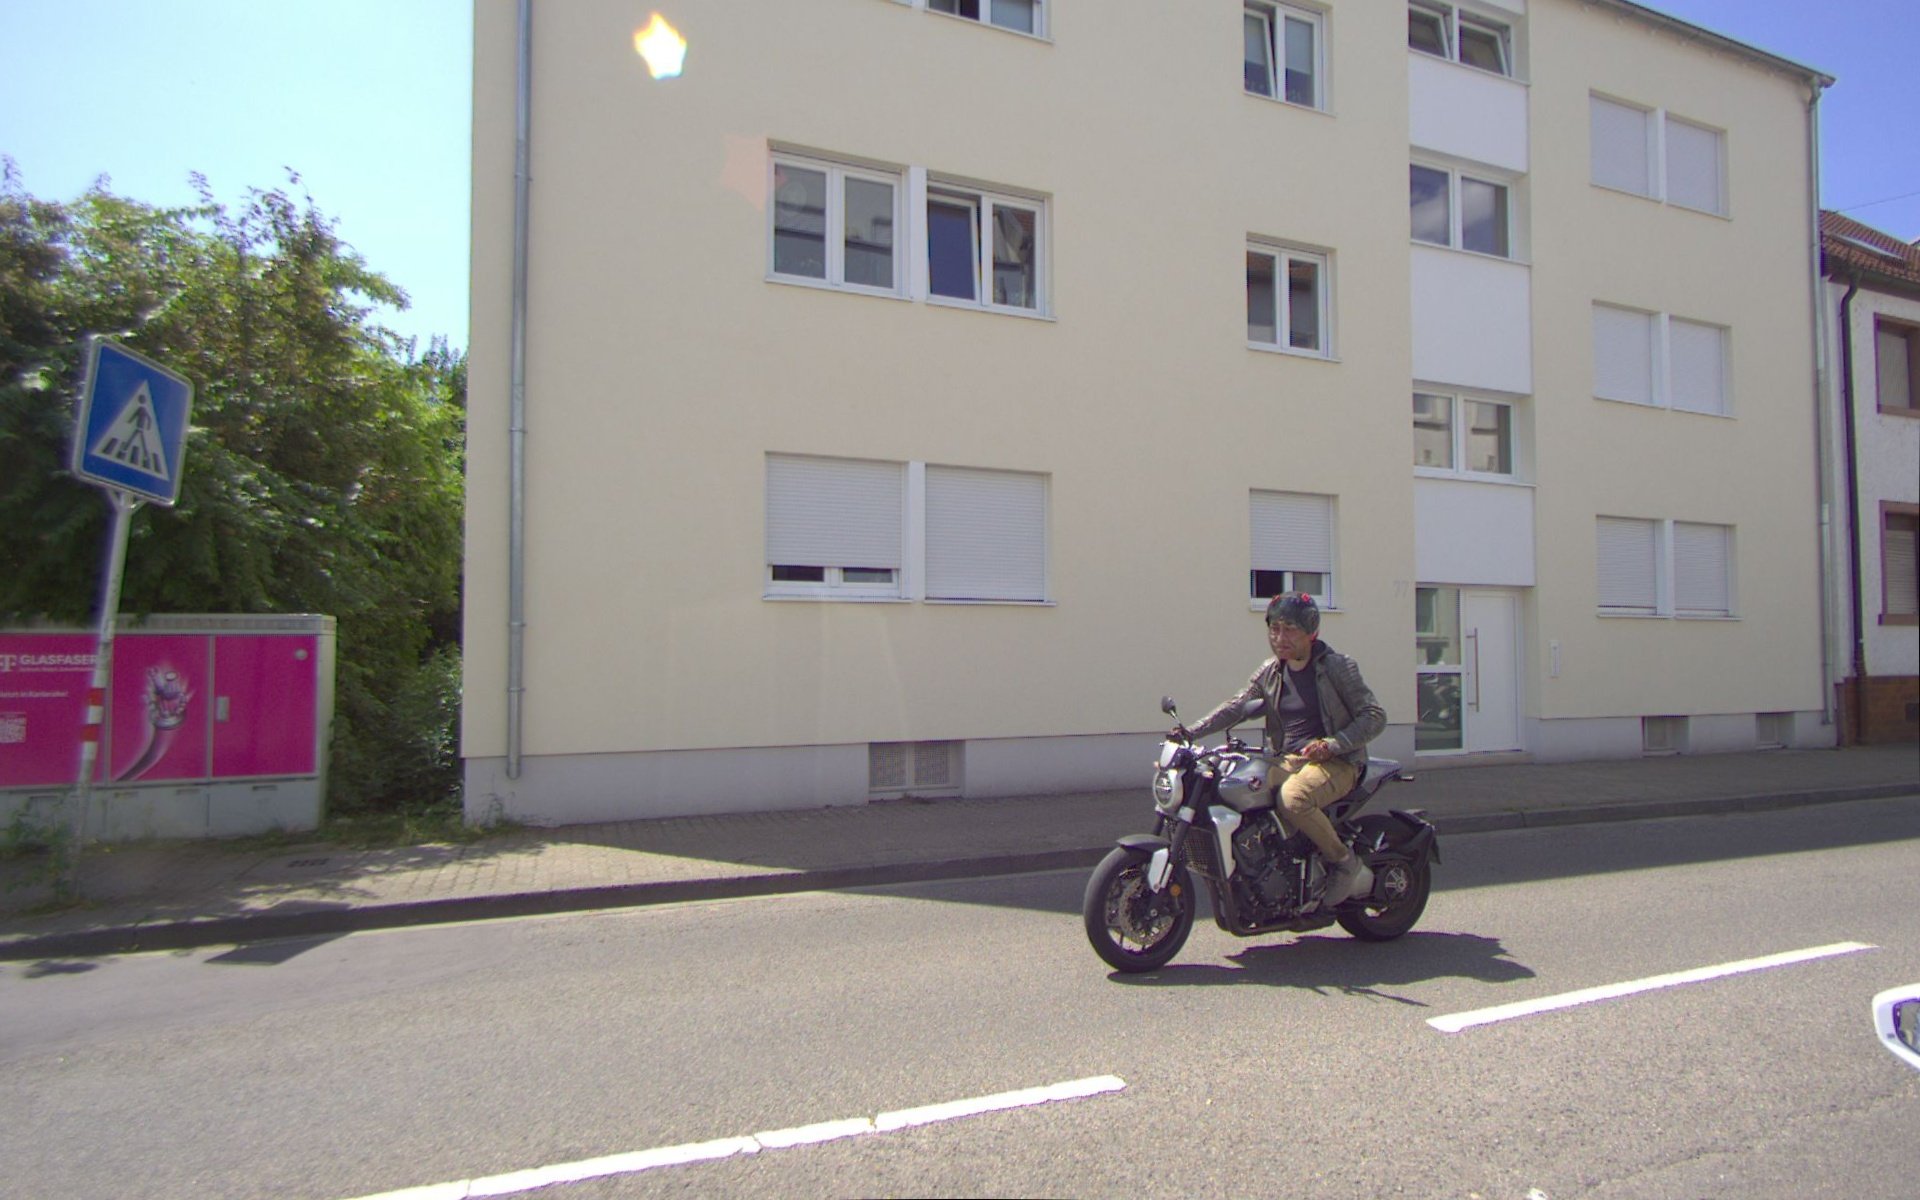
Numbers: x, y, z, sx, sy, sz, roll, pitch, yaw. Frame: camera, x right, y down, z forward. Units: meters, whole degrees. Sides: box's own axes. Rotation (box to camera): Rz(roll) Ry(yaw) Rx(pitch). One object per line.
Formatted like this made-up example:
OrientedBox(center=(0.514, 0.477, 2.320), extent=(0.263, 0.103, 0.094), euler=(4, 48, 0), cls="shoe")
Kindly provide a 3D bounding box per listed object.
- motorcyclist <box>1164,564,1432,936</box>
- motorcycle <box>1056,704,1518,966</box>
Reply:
OrientedBox(center=(1.660, 0.692, 5.008), extent=(1.052, 1.656, 0.712), euler=(1, -2, -19), cls="motorcyclist")
OrientedBox(center=(1.625, 1.072, 4.985), extent=(2.205, 1.042, 0.712), euler=(1, -2, -19), cls="motorcycle")
